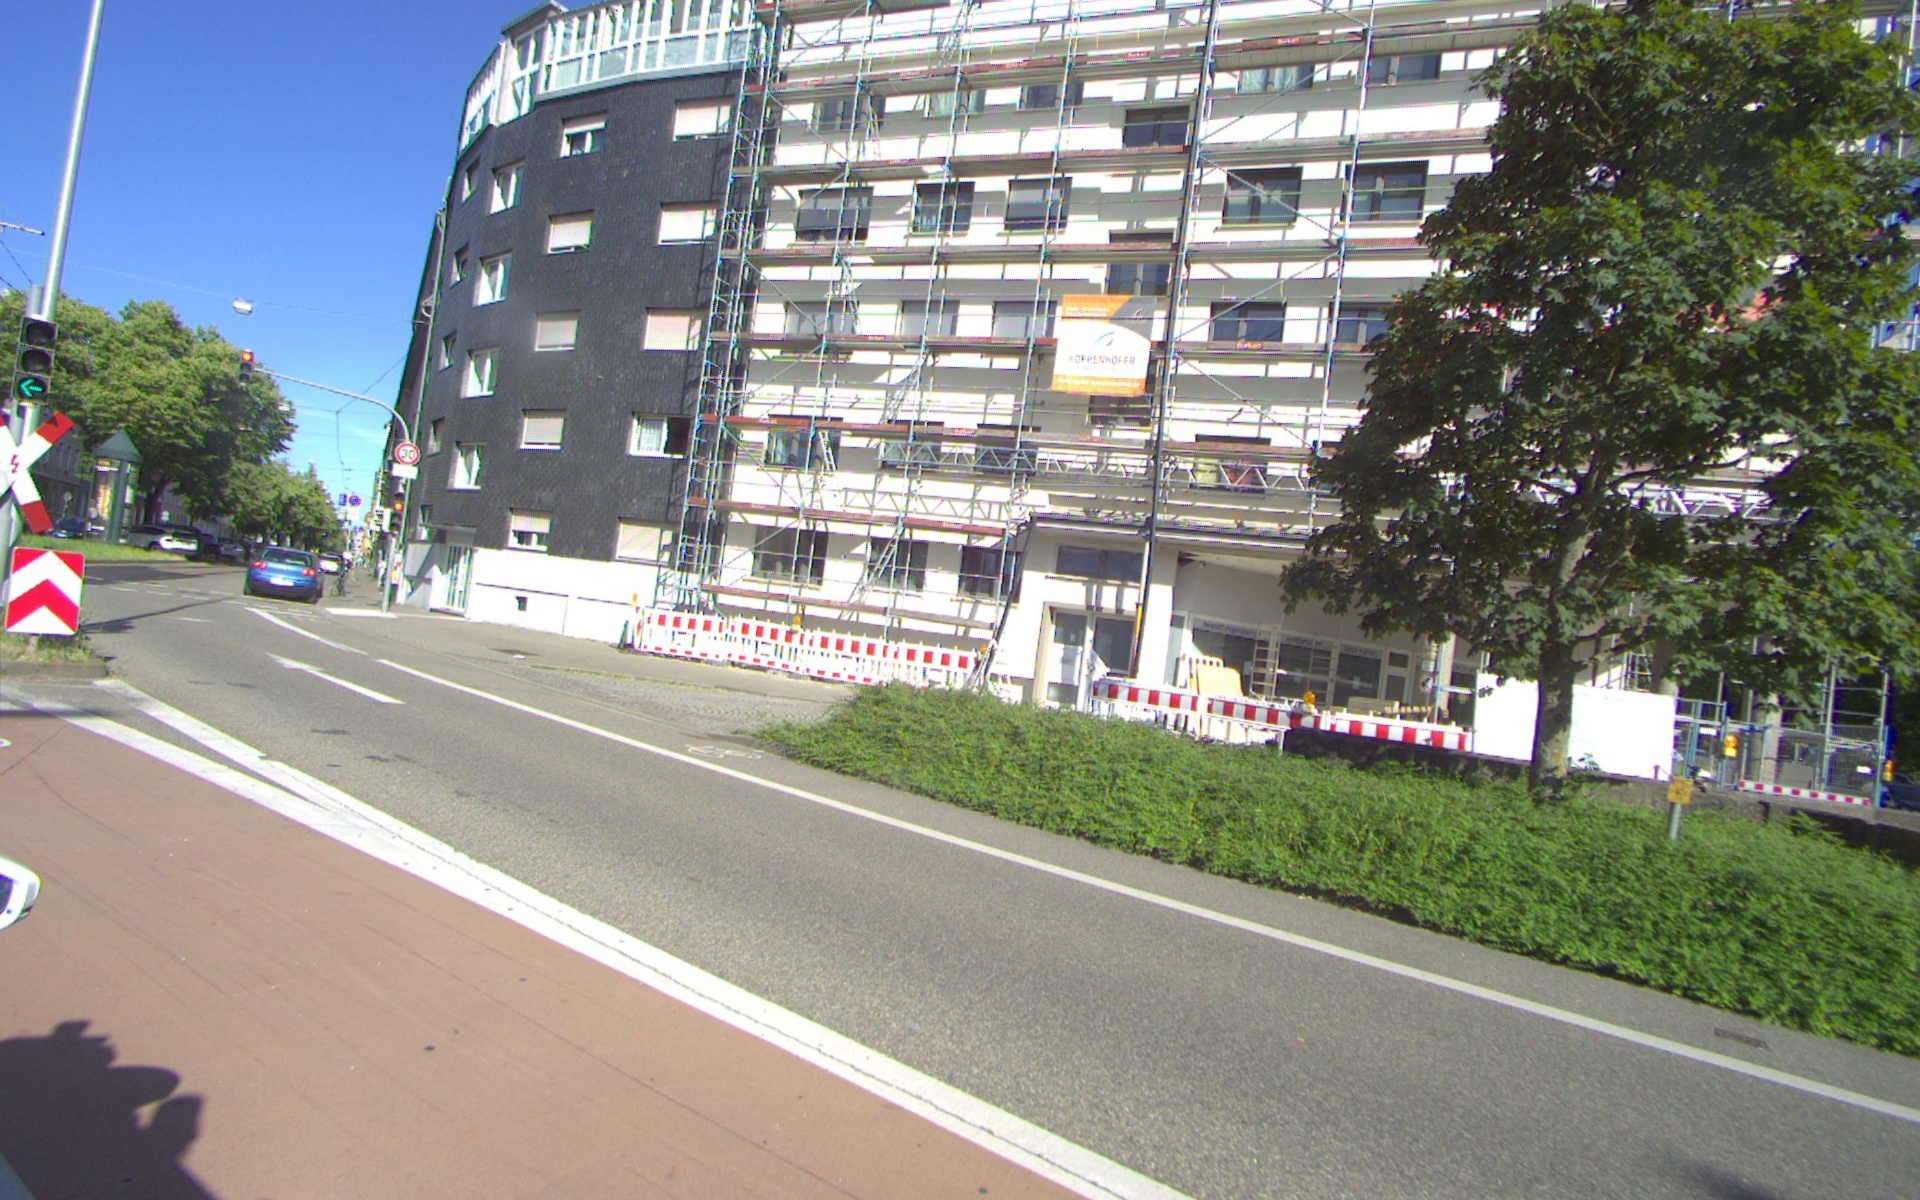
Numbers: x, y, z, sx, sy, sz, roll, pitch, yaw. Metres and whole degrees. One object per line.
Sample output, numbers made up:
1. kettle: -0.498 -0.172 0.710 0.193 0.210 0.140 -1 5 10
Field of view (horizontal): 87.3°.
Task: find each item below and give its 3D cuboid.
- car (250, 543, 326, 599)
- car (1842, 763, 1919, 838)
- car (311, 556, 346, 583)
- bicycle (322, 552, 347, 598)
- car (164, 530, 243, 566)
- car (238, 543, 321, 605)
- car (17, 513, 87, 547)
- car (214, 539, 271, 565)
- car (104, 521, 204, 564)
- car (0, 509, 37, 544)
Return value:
1. car: -22.470 -1.004 33.740 1.808 1.525 3.967 9 -2 -32
2. car: 31.471 6.703 33.347 1.963 2.036 4.003 7 -3 22
3. car: -48.598 -2.308 77.466 1.980 1.635 3.972 9 -4 -30
4. bicycle: -22.308 -0.916 35.881 0.569 1.528 2.785 8 -2 -32
5. car: -52.328 -3.560 69.642 3.765 1.806 1.834 9 -2 -19
6. car: -19.921 -0.781 29.560 1.764 1.459 3.588 10 -3 -33
7. car: -52.100 -3.966 57.801 1.979 1.504 3.972 9 -3 -29
8. car: -67.657 -4.480 94.904 3.765 1.806 1.834 9 -2 -19
9. car: -42.309 -2.997 52.830 3.924 1.612 1.913 7 -2 11
10. car: -46.463 -3.652 48.411 1.979 1.489 3.972 9 -3 -29
